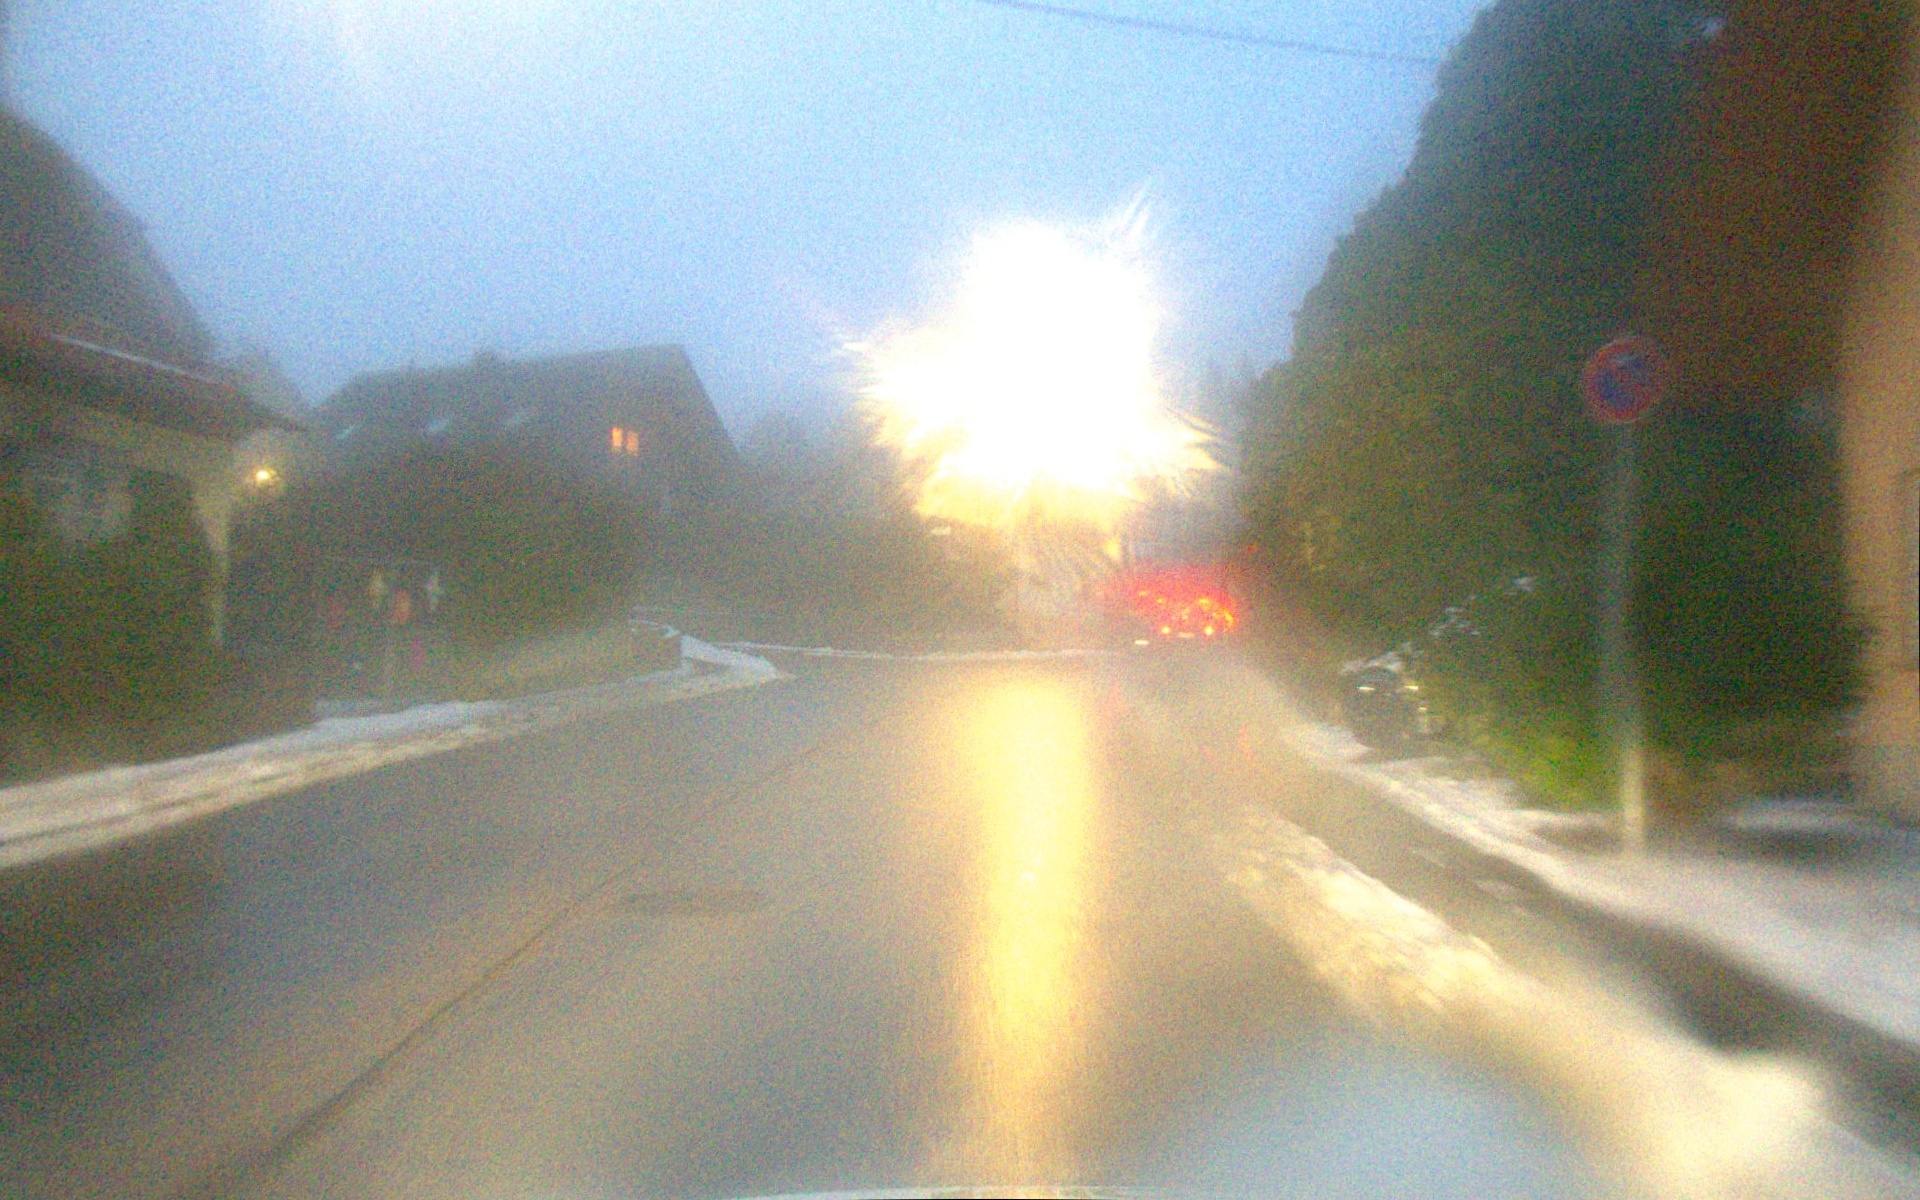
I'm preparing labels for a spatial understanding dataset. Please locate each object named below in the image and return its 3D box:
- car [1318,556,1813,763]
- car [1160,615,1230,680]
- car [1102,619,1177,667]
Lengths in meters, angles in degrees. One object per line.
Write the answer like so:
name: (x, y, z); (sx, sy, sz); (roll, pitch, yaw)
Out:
car: (5.542, 0.536, 15.458); (3.909, 1.720, 1.842); (-1, -1, -5)
car: (7.083, 1.464, 49.624); (1.951, 1.767, 3.881); (-2, -4, 9)
car: (6.957, 1.680, 63.782); (1.952, 1.680, 4.000); (-3, -4, 20)
